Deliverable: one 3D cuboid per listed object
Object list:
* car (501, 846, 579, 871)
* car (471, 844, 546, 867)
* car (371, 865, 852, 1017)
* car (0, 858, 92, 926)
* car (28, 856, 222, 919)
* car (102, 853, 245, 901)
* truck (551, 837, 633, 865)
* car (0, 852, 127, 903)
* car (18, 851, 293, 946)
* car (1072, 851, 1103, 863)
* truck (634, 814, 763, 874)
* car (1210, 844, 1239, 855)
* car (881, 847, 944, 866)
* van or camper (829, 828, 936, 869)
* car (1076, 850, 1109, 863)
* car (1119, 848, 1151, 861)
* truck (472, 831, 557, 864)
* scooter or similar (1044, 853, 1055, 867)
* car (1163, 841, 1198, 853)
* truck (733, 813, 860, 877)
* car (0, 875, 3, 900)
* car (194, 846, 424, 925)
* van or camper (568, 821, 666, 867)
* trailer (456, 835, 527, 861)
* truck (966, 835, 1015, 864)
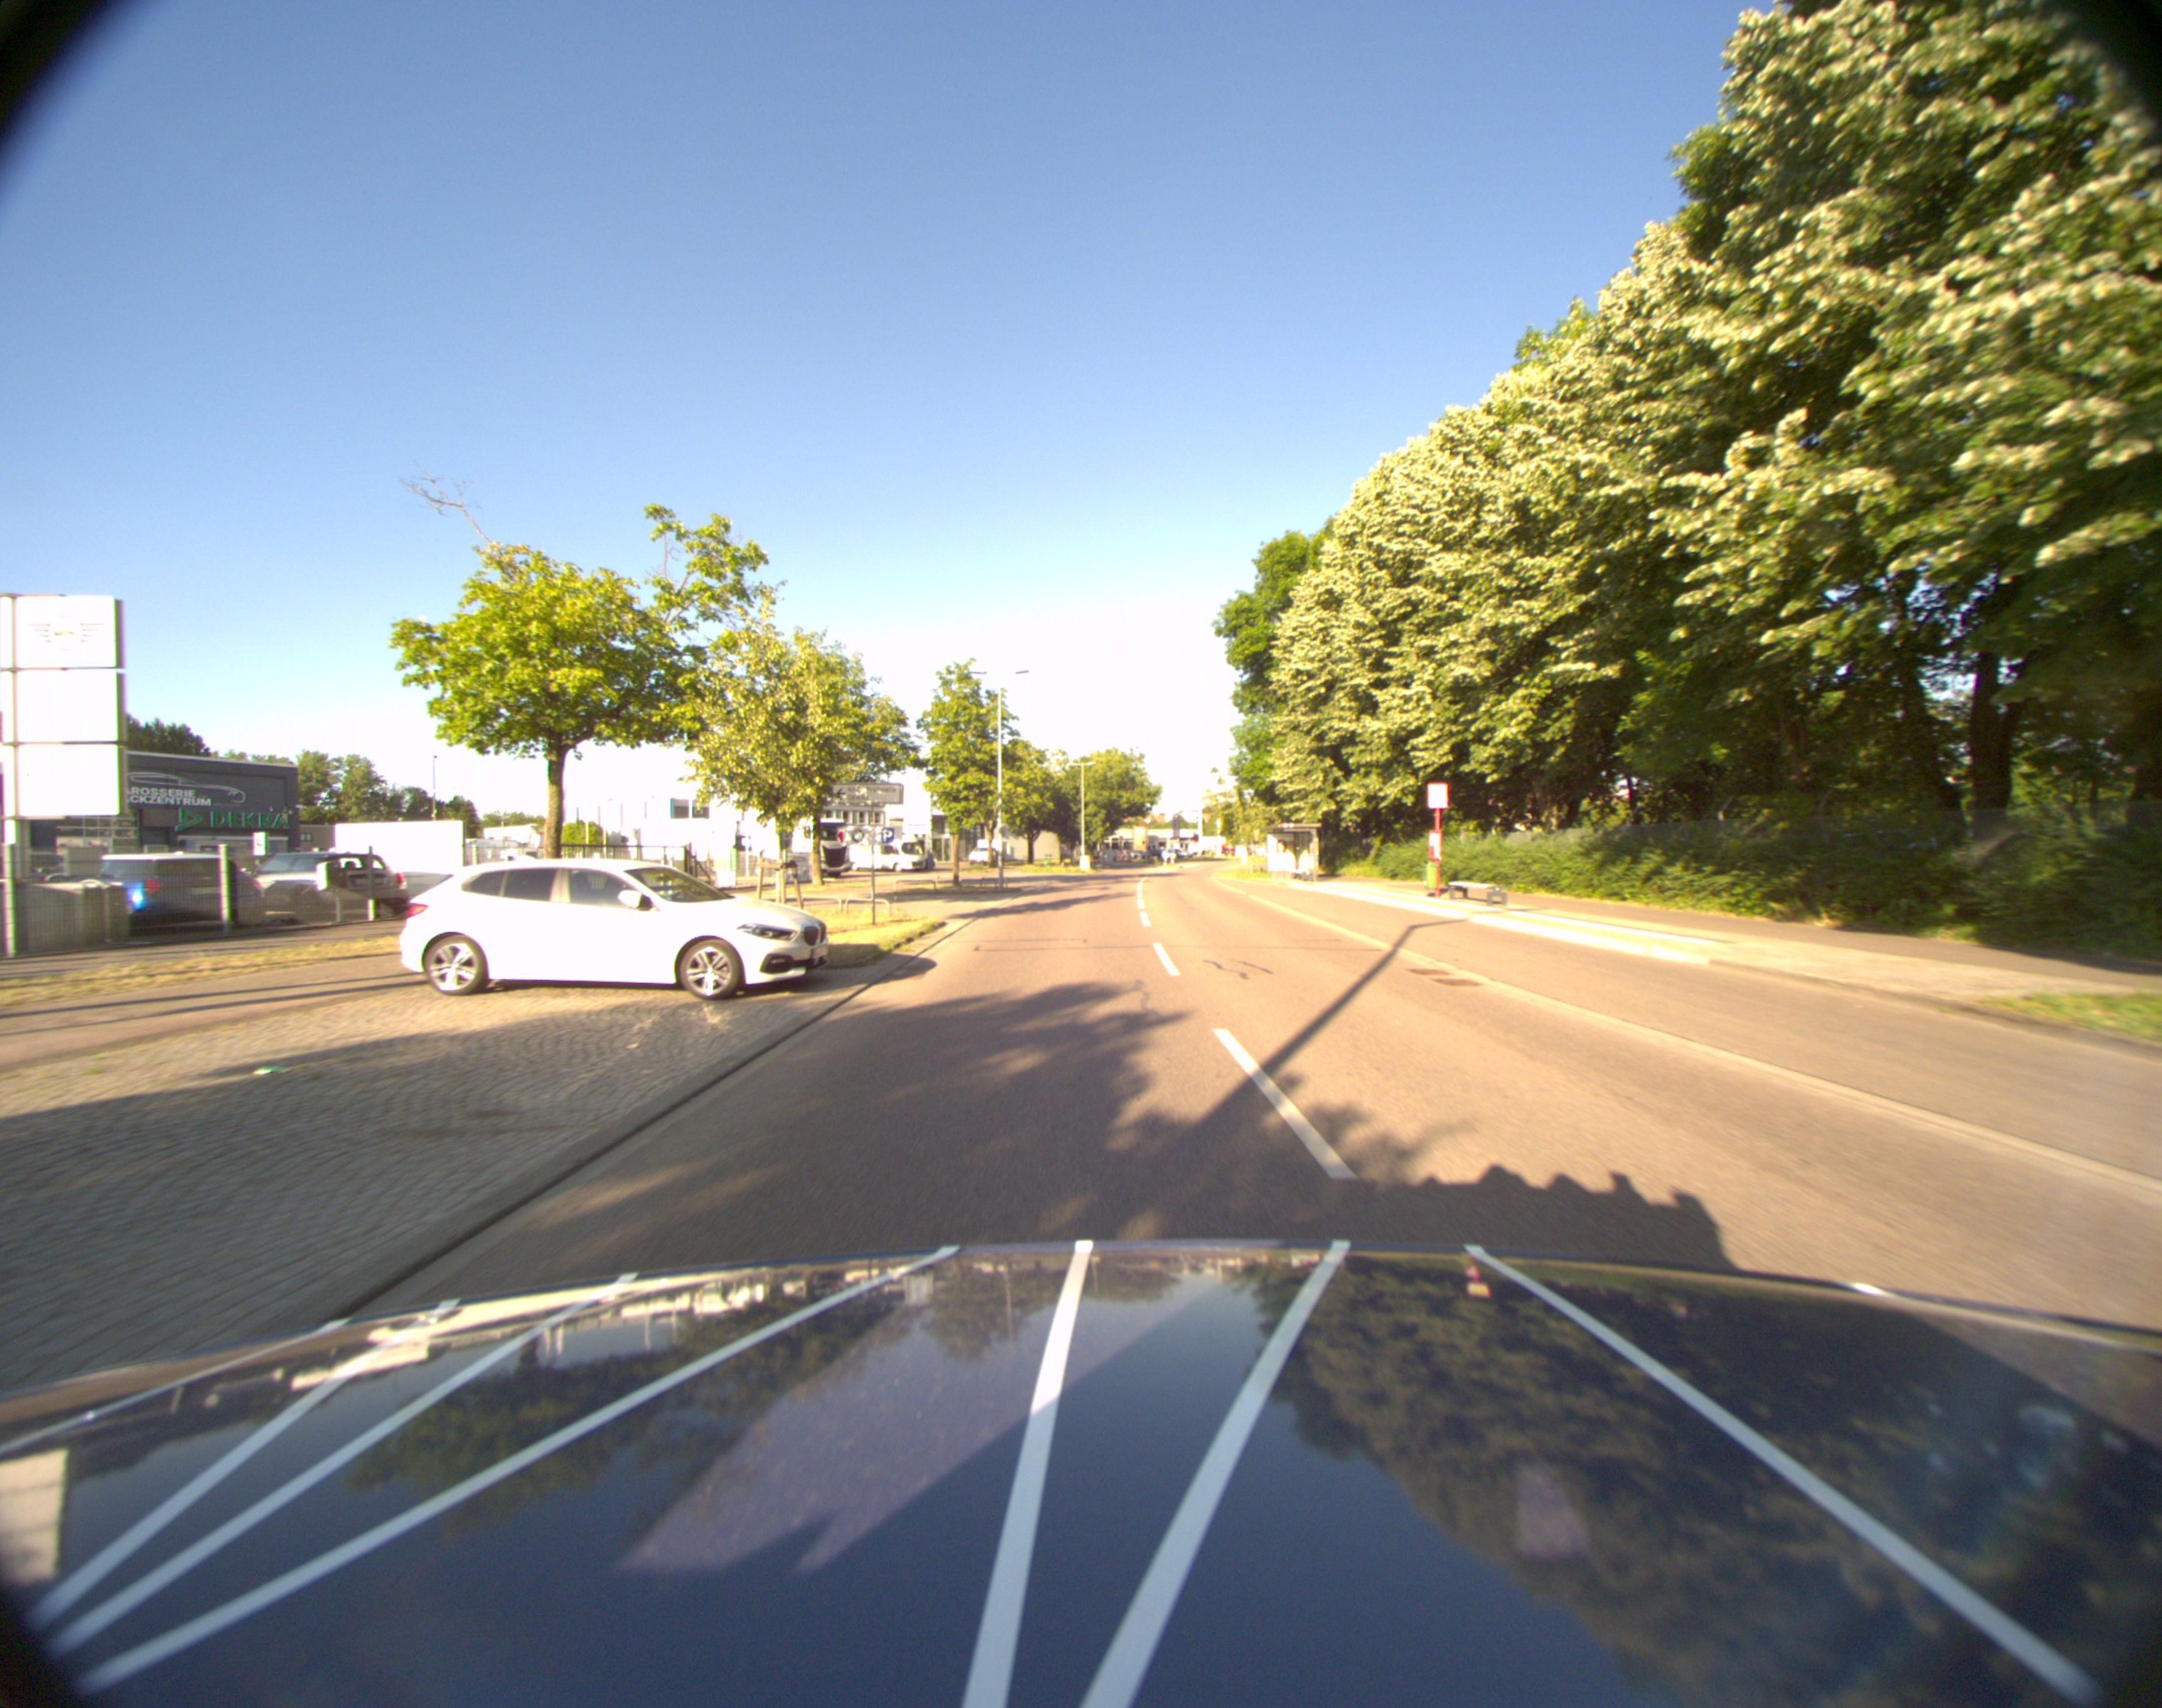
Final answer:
[{"bbox_3d":[-47.344,0.343,66.629,1.995,2.002,5.060,-3,0,31],"label":"car"},{"bbox_3d":[-51.973,0.102,69.119,1.994,2.002,5.061,0,1,31],"label":"car"},{"bbox_3d":[-5.049,0.903,8.733,4.209,1.435,2.088,1,1,-1],"label":"car"},{"bbox_3d":[-26.285,0.866,18.172,3.991,1.521,1.927,0,1,17],"label":"car"},{"bbox_3d":[-25.574,0.836,20.356,3.991,1.521,1.927,0,1,18],"label":"car"},{"bbox_3d":[-32.320,0.779,27.090,3.991,1.569,2.003,0,1,20],"label":"car"},{"bbox_3d":[-52.127,-0.321,81.131,1.994,2.890,7.127,0,1,33],"label":"truck"},{"bbox_3d":[-34.135,0.731,25.147,3.991,1.569,2.003,0,1,20],"label":"car"},{"bbox_3d":[-17.326,0.736,14.266,3.991,1.569,2.003,0,1,20],"label":"car"},{"bbox_3d":[1.083,0.444,126.784,4.833,2.002,2.305,0,1,44],"label":"car"},{"bbox_3d":[-25.430,-0.607,50.254,10.090,3.623,3.302,0,1,36],"label":"truck"},{"bbox_3d":[25.825,-0.758,136.826,2.304,2.002,4.834,-1,1,-34],"label":"car"},{"bbox_3d":[-13.595,0.214,61.587,4.813,1.483,1.998,0,1,-8],"label":"car"},{"bbox_3d":[-14.677,-0.398,56.010,7.988,2.883,2.948,0,1,32],"label":"van or camper"},{"bbox_3d":[1.837,0.397,119.978,4.833,2.002,2.305,0,1,39],"label":"car"},{"bbox_3d":[8.782,0.055,124.039,4.833,2.002,2.305,0,1,40],"label":"car"},{"bbox_3d":[-64.047,-0.766,86.086,2.669,3.555,7.127,0,1,33],"label":"truck"},{"bbox_3d":[-2.709,0.472,65.411,0.547,1.190,1.483,0,1,15],"label":"scooter or similar"},{"bbox_3d":[16.415,-1.159,125.021,5.275,2.002,2.410,0,1,40],"label":"car"},{"bbox_3d":[-17.094,-0.522,45.368,8.229,3.502,3.122,0,1,37],"label":"truck"},{"bbox_3d":[-34.728,0.636,22.648,3.991,1.570,1.907,0,3,20],"label":"car"},{"bbox_3d":[-16.871,0.621,16.639,3.991,1.569,2.003,0,1,20],"label":"car"},{"bbox_3d":[-35.192,-0.751,57.530,8.116,3.310,2.419,0,1,28],"label":"van or camper"},{"bbox_3d":[-55.576,-0.574,71.677,1.994,2.422,4.867,0,1,32],"label":"trailer"},{"bbox_3d":[-8.790,-0.453,74.381,2.541,2.704,5.979,0,0,17],"label":"truck"}]
